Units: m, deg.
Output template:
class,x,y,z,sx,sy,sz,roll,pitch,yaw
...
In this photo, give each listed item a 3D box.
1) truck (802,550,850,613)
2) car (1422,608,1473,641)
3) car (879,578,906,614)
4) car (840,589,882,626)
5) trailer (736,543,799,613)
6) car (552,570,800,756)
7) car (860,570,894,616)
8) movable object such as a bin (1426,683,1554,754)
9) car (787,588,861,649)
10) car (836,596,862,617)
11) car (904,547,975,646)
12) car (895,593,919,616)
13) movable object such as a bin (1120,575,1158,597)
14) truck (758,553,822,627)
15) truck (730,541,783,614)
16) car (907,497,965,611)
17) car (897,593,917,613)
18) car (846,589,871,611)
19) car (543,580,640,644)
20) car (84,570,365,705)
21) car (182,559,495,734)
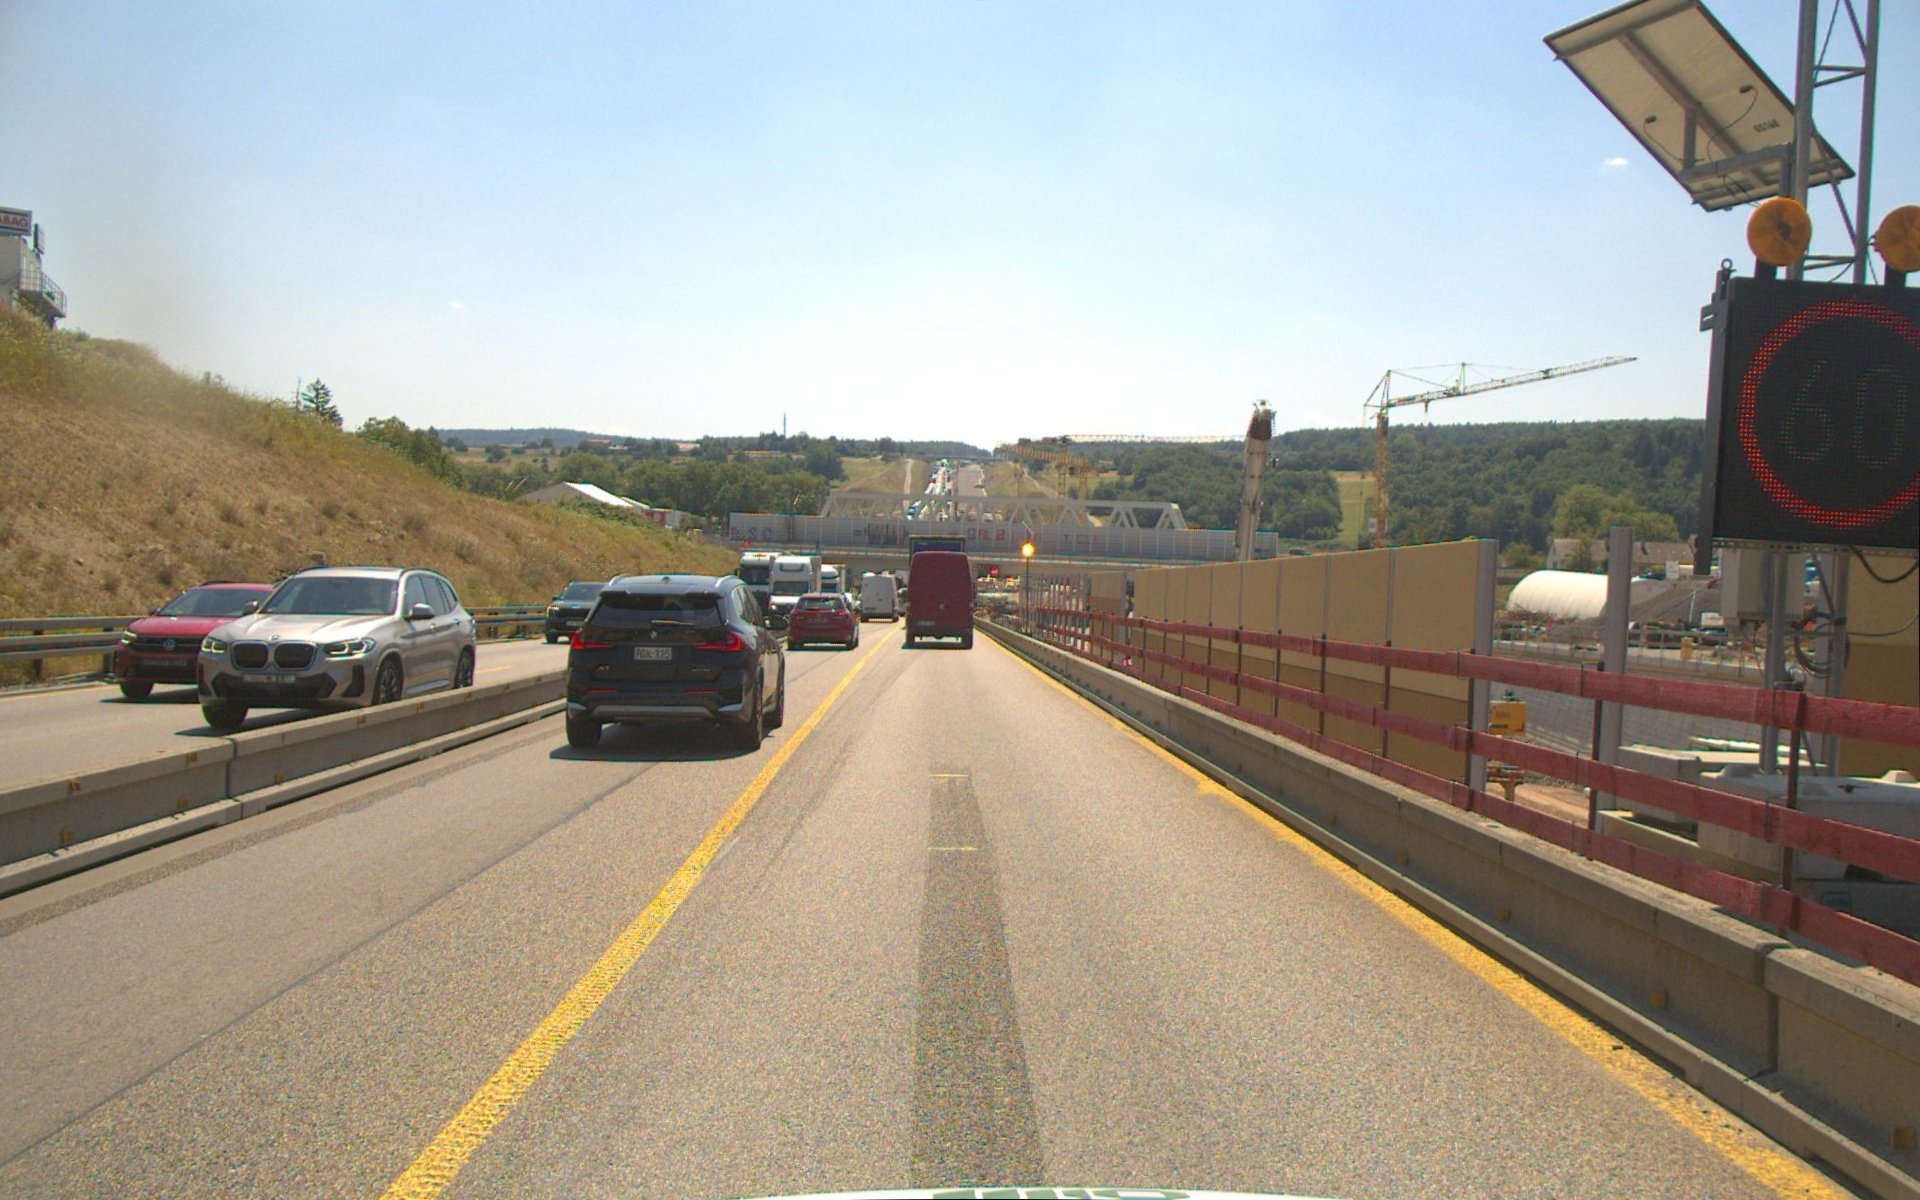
class,x,y,z,sx,sy,sz,roll,pitch,yaw
truck,-8.561,-1.171,106.338,2.537,3.824,7.356,1,0,-1
car,32.913,1.624,111.799,1.770,2.049,4.822,1,0,-4
car,-4.541,-0.275,111.441,1.740,2.370,4.205,0,0,-1
car,-4.570,0.316,76.756,1.802,1.683,4.163,0,0,-2
trailer,-12.081,-1.327,104.801,2.643,4.095,13.698,1,0,-1
car,-2.743,0.548,16.961,1.841,1.646,4.498,0,0,-1
car,-4.604,-0.395,92.081,1.740,2.484,4.205,0,0,-1
movable object such as a bin,23.757,5.271,74.627,3.099,2.488,7.894,3,0,-1
car,-3.604,0.467,44.390,1.740,1.544,4.204,0,0,-2
car,-8.179,0.484,122.050,1.743,1.483,4.718,1,0,-2
car,-0.619,-0.103,48.147,1.948,2.737,4.622,0,0,-1
car,-4.021,0.322,126.411,1.740,1.699,4.027,0,0,-1
movable object such as a bin,24.767,-1.911,229.102,5.038,2.856,2.144,1,0,5
truck,-8.239,-0.476,80.941,2.487,3.433,7.036,1,0,-1
truck,-11.861,-1.279,96.758,2.643,4.120,3.954,1,0,-2
car,-1.189,-2.119,79.801,2.568,5.120,10.394,0,0,-1
car,-4.617,0.229,144.313,1.740,1.699,4.027,0,0,-1
car,-8.890,-0.033,144.898,1.994,1.855,4.958,1,0,-2
car,-10.433,0.305,47.127,1.816,1.701,4.667,1,0,-1
car,-9.917,0.447,22.790,1.650,1.613,5.125,1,0,-1
car,-6.786,0.449,18.648,1.807,1.694,4.687,1,0,-1
